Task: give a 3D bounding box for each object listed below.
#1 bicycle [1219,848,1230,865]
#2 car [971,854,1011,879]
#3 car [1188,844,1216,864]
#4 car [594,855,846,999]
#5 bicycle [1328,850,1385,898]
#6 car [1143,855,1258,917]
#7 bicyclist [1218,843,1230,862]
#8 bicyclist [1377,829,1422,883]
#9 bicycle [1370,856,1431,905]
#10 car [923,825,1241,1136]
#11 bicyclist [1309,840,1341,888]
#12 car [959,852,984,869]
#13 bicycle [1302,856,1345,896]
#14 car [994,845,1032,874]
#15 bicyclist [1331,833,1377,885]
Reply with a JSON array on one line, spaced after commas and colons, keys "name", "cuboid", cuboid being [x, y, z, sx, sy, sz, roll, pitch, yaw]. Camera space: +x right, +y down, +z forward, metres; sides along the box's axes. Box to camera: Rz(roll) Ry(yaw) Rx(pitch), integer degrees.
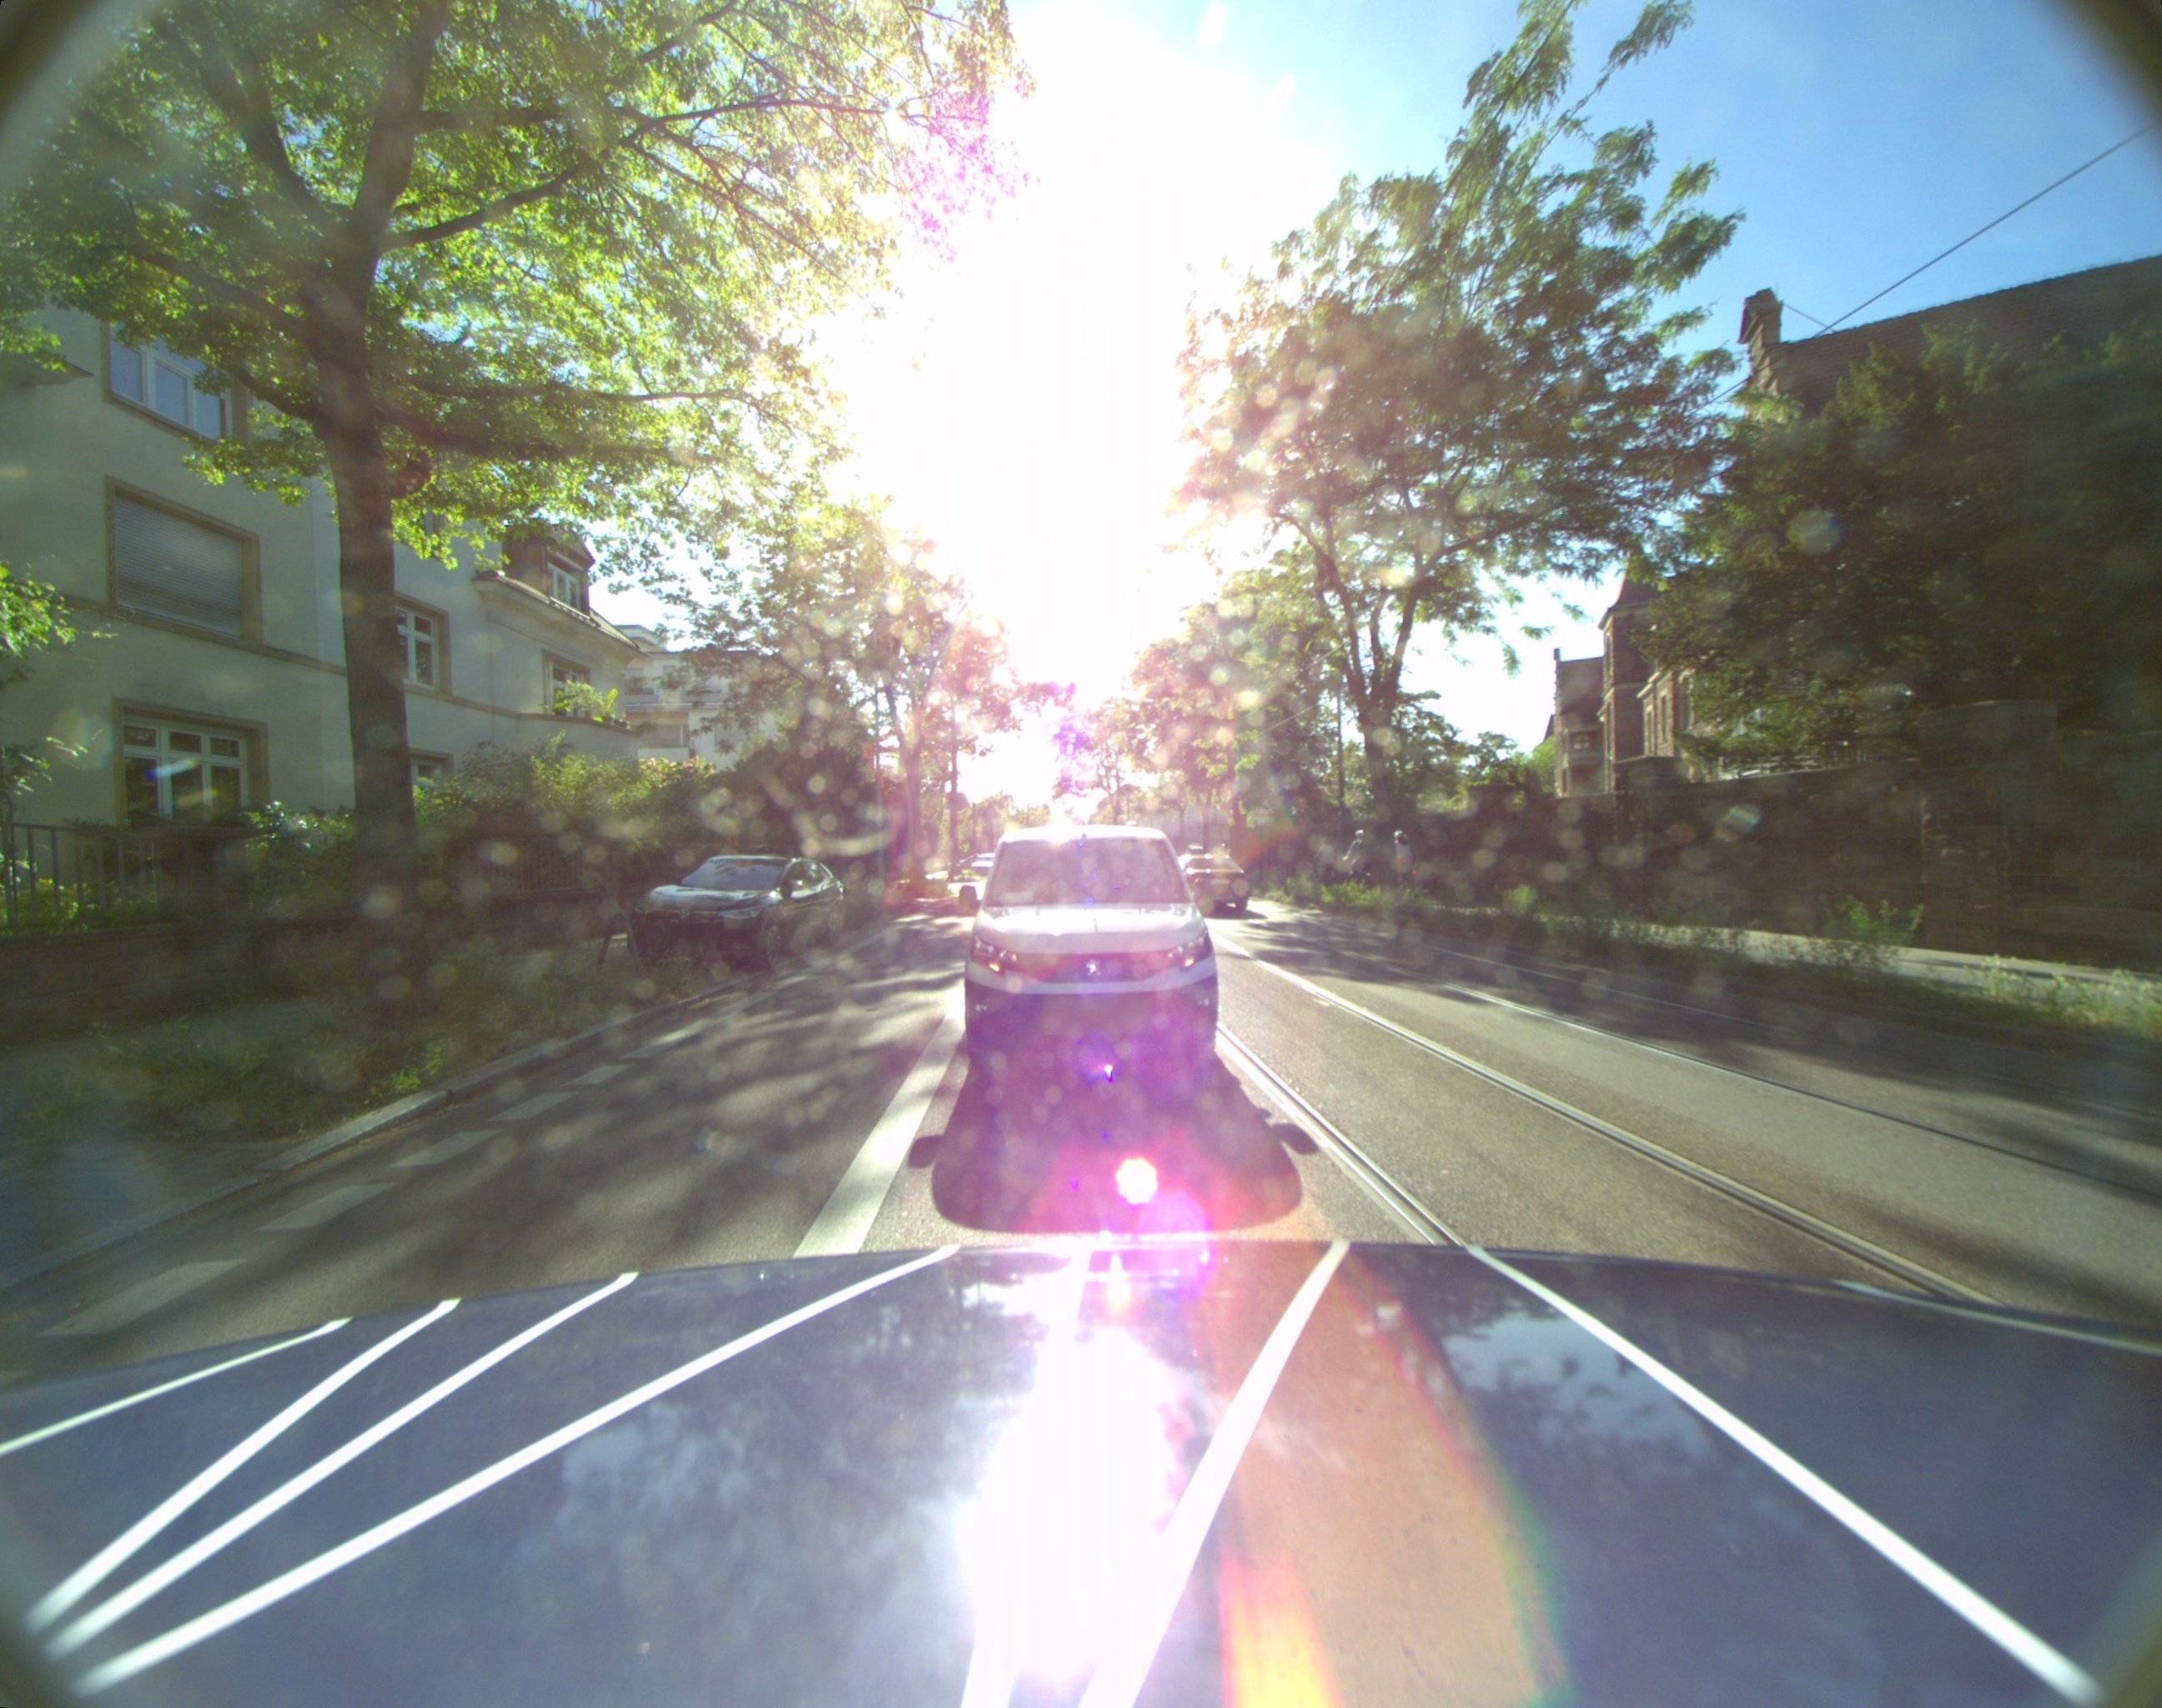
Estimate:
[{"name": "bicycle", "cuboid": [9.857, 0.160, 52.254, 0.684, 1.072, 1.737, -2, 1, 12]}, {"name": "car", "cuboid": [-5.365, 0.714, 45.760, 1.719, 1.332, 3.917, -2, 1, 2]}, {"name": "car", "cuboid": [11.274, -0.023, 70.556, 1.829, 1.800, 4.005, -1, 1, 21]}, {"name": "car", "cuboid": [-5.317, 0.948, 11.939, 1.999, 1.733, 4.169, -2, 1, -2]}, {"name": "bicycle", "cuboid": [7.536, 0.515, 20.869, 0.774, 1.184, 2.102, -2, 1, 1]}, {"name": "car", "cuboid": [3.095, 0.776, 20.564, 1.741, 1.414, 4.256, -2, 1, -10]}, {"name": "bicyclist", "cuboid": [9.821, -0.110, 52.174, 0.684, 1.277, 0.872, -2, 1, 13]}, {"name": "bicyclist", "cuboid": [8.496, 0.044, 20.332, 0.733, 1.383, 1.060, -2, 1, 0]}, {"name": "bicycle", "cuboid": [8.517, 0.676, 20.328, 0.733, 1.184, 2.088, -2, 1, 1]}, {"name": "car", "cuboid": [-0.034, 0.713, 6.641, 1.832, 1.788, 4.333, -1, 1, -1]}, {"name": "bicyclist", "cuboid": [7.912, 0.312, 24.634, 0.744, 1.526, 0.751, -2, 1, 0]}, {"name": "car", "cuboid": [-10.243, 0.559, 71.230, 1.741, 1.434, 3.999, -2, 1, 0]}, {"name": "bicycle", "cuboid": [7.933, 0.695, 24.953, 0.747, 1.184, 2.088, -2, 1, 1]}, {"name": "car", "cuboid": [-4.607, 0.336, 52.128, 1.904, 1.819, 4.248, -2, 1, 3]}, {"name": "bicyclist", "cuboid": [7.518, 0.126, 20.978, 0.768, 1.383, 1.272, -2, 1, 0]}]
